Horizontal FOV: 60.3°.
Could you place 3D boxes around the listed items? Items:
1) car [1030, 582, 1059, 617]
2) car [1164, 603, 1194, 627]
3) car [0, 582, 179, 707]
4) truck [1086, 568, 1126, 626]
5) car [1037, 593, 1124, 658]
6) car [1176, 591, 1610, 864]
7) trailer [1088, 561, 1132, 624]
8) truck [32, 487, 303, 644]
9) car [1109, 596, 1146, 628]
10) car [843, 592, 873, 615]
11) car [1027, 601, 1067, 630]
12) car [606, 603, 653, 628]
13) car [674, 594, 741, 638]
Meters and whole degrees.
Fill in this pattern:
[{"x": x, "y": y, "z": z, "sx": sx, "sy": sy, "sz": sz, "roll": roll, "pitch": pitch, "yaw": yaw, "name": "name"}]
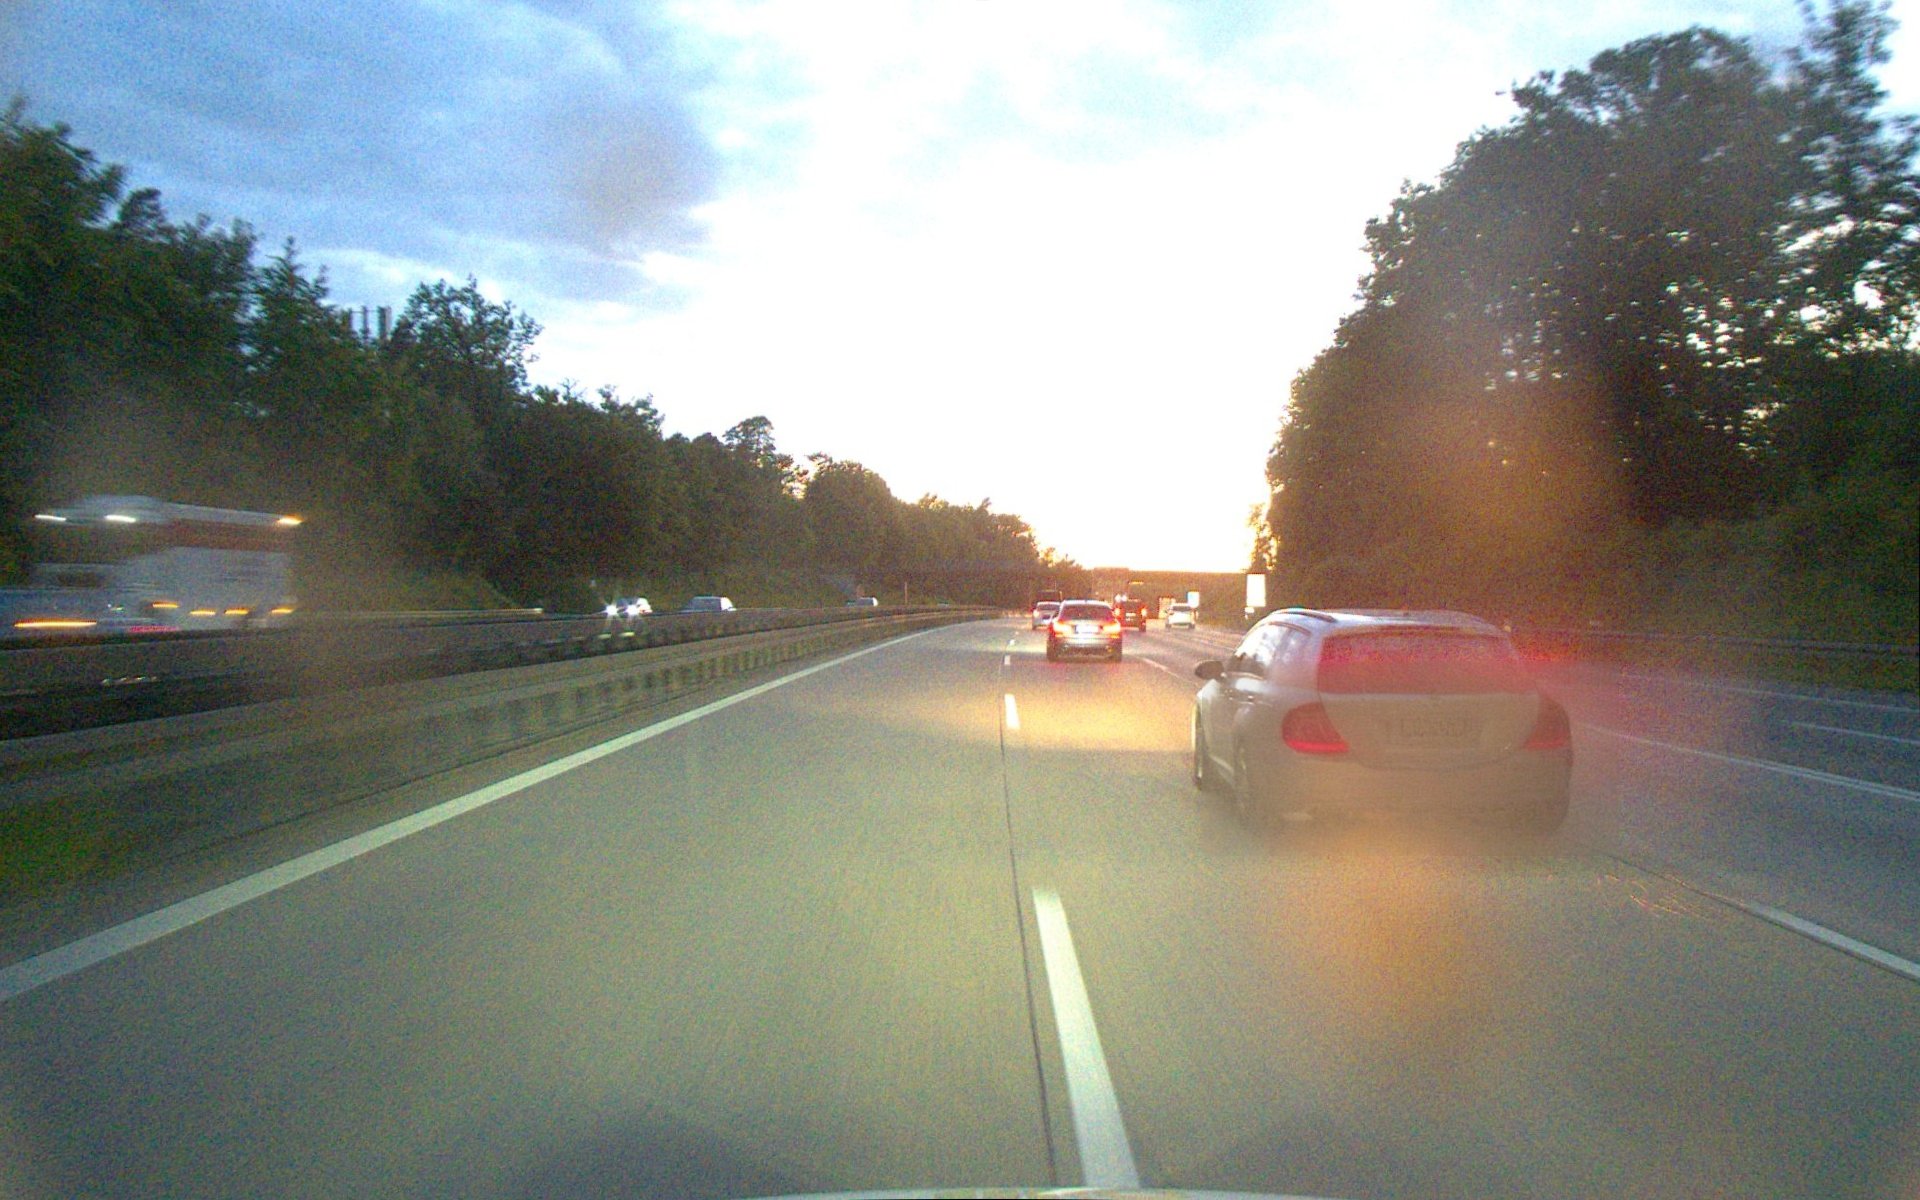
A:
[{"x": 6.444, "y": 0.015, "z": 125.611, "sx": 2.120, "sy": 2.461, "sz": 5.565, "roll": 1, "pitch": -2, "yaw": 3, "name": "car"}, {"x": 14.094, "y": 0.956, "z": 106.199, "sx": 1.819, "sy": 1.467, "sz": 4.114, "roll": 0, "pitch": -1, "yaw": 9, "name": "car"}, {"x": -11.928, "y": 0.496, "z": 21.122, "sx": 1.703, "sy": 1.435, "sz": 4.805, "roll": 0, "pitch": 0, "yaw": -1, "name": "car"}, {"x": 11.502, "y": -0.165, "z": 131.039, "sx": 2.824, "sy": 4.173, "sz": 10.835, "roll": 1, "pitch": -2, "yaw": 4, "name": "truck"}, {"x": 3.023, "y": 0.601, "z": 42.497, "sx": 1.870, "sy": 1.564, "sz": 5.231, "roll": 0, "pitch": 0, "yaw": 0, "name": "car"}, {"x": 2.765, "y": 0.704, "z": 11.852, "sx": 1.772, "sy": 1.491, "sz": 5.132, "roll": 0, "pitch": 1, "yaw": 0, "name": "car"}, {"x": 10.837, "y": -0.478, "z": 120.493, "sx": 2.846, "sy": 4.173, "sz": 10.360, "roll": 1, "pitch": -2, "yaw": 4, "name": "trailer"}, {"x": -22.921, "y": -0.919, "z": 48.724, "sx": 2.590, "sy": 4.081, "sz": 10.546, "roll": 1, "pitch": 0, "yaw": 2, "name": "truck"}, {"x": 9.051, "y": 0.674, "z": 89.213, "sx": 1.862, "sy": 1.672, "sz": 5.055, "roll": 1, "pitch": -1, "yaw": 7, "name": "car"}, {"x": -8.067, "y": 0.284, "z": 131.480, "sx": 1.952, "sy": 1.735, "sz": 4.552, "roll": 1, "pitch": 0, "yaw": 2, "name": "car"}, {"x": 4.579, "y": 0.806, "z": 87.814, "sx": 1.821, "sy": 1.467, "sz": 3.719, "roll": 0, "pitch": 0, "yaw": -1, "name": "car"}, {"x": -20.538, "y": 0.949, "z": 102.943, "sx": 1.812, "sy": 1.523, "sz": 4.596, "roll": 0, "pitch": 0, "yaw": 2, "name": "car"}, {"x": -9.796, "y": 0.579, "z": 64.432, "sx": 1.953, "sy": 1.628, "sz": 4.820, "roll": 0, "pitch": 0, "yaw": -1, "name": "car"}]
